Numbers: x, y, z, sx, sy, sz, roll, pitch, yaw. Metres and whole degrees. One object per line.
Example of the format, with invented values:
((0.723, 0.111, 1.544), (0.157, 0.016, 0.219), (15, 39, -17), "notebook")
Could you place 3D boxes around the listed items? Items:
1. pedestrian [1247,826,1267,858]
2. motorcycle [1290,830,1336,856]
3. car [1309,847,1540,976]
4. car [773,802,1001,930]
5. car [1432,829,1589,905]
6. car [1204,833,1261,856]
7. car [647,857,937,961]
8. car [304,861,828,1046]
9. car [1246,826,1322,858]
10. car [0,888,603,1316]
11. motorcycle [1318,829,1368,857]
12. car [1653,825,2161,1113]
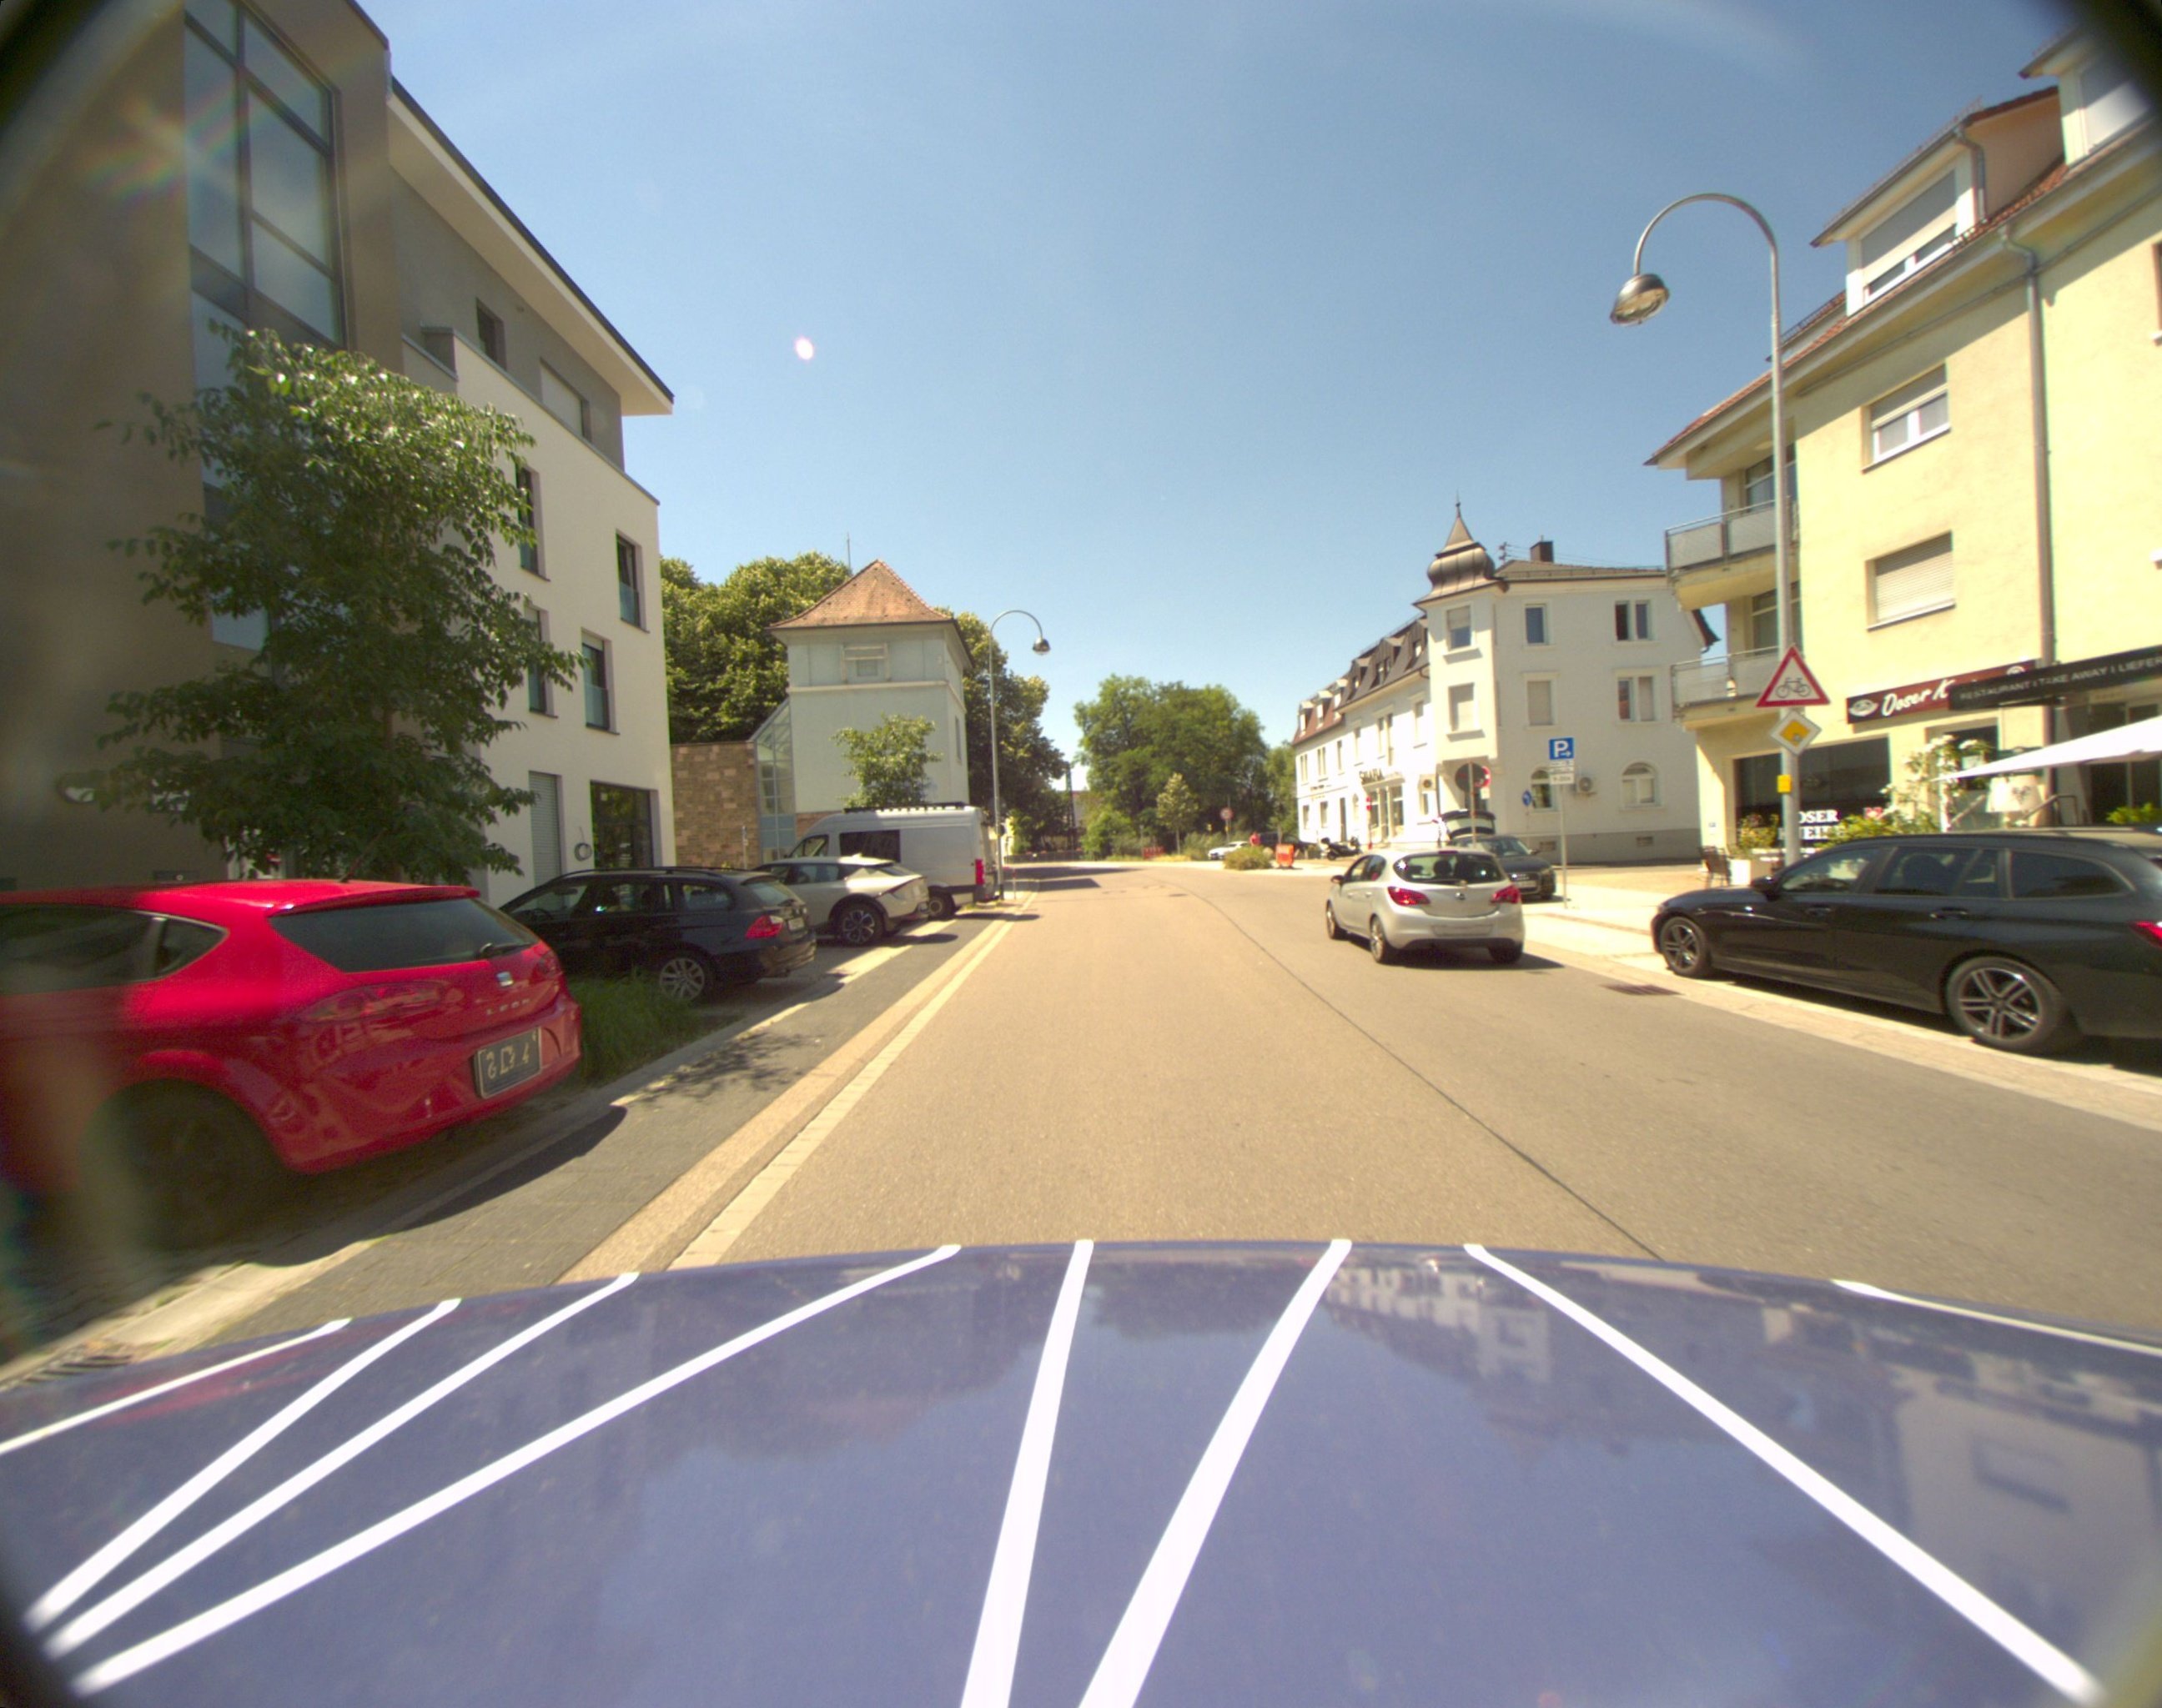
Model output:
((9.837, -0.661, 42.413), (0.758, 1.755, 0.802), (-3, 1, -10), "pedestrian")
((13.025, -0.609, 42.711), (2.322, 1.317, 0.725), (-2, 1, 2), "motorcycle")
((4.608, 0.650, 10.888), (1.685, 1.475, 4.086), (-1, 1, 4), "car")
((-4.507, 0.268, 18.238), (4.867, 2.720, 1.850), (-2, 1, 0), "car")
((9.488, 0.231, 17.154), (1.900, 1.433, 3.778), (-3, 1, 10), "car")
((11.050, -0.687, 55.353), (3.946, 1.528, 1.831), (-3, 1, -35), "car")
((-4.925, 0.913, 13.412), (4.381, 1.521, 1.719), (-2, 1, -1), "car")
((-5.213, 0.959, 8.186), (4.359, 1.542, 1.651), (-2, 1, -3), "car")
((12.029, -0.719, 45.197), (4.078, 1.729, 1.815), (-2, 1, 4), "car")
((-4.744, 1.009, 3.603), (3.818, 1.454, 1.651), (-2, 1, -2), "car")
((13.678, -0.570, 39.741), (2.322, 1.317, 0.725), (-2, 1, 2), "motorcycle")
((6.867, 0.591, 5.957), (1.684, 1.475, 4.341), (-5, 1, 5), "car")
